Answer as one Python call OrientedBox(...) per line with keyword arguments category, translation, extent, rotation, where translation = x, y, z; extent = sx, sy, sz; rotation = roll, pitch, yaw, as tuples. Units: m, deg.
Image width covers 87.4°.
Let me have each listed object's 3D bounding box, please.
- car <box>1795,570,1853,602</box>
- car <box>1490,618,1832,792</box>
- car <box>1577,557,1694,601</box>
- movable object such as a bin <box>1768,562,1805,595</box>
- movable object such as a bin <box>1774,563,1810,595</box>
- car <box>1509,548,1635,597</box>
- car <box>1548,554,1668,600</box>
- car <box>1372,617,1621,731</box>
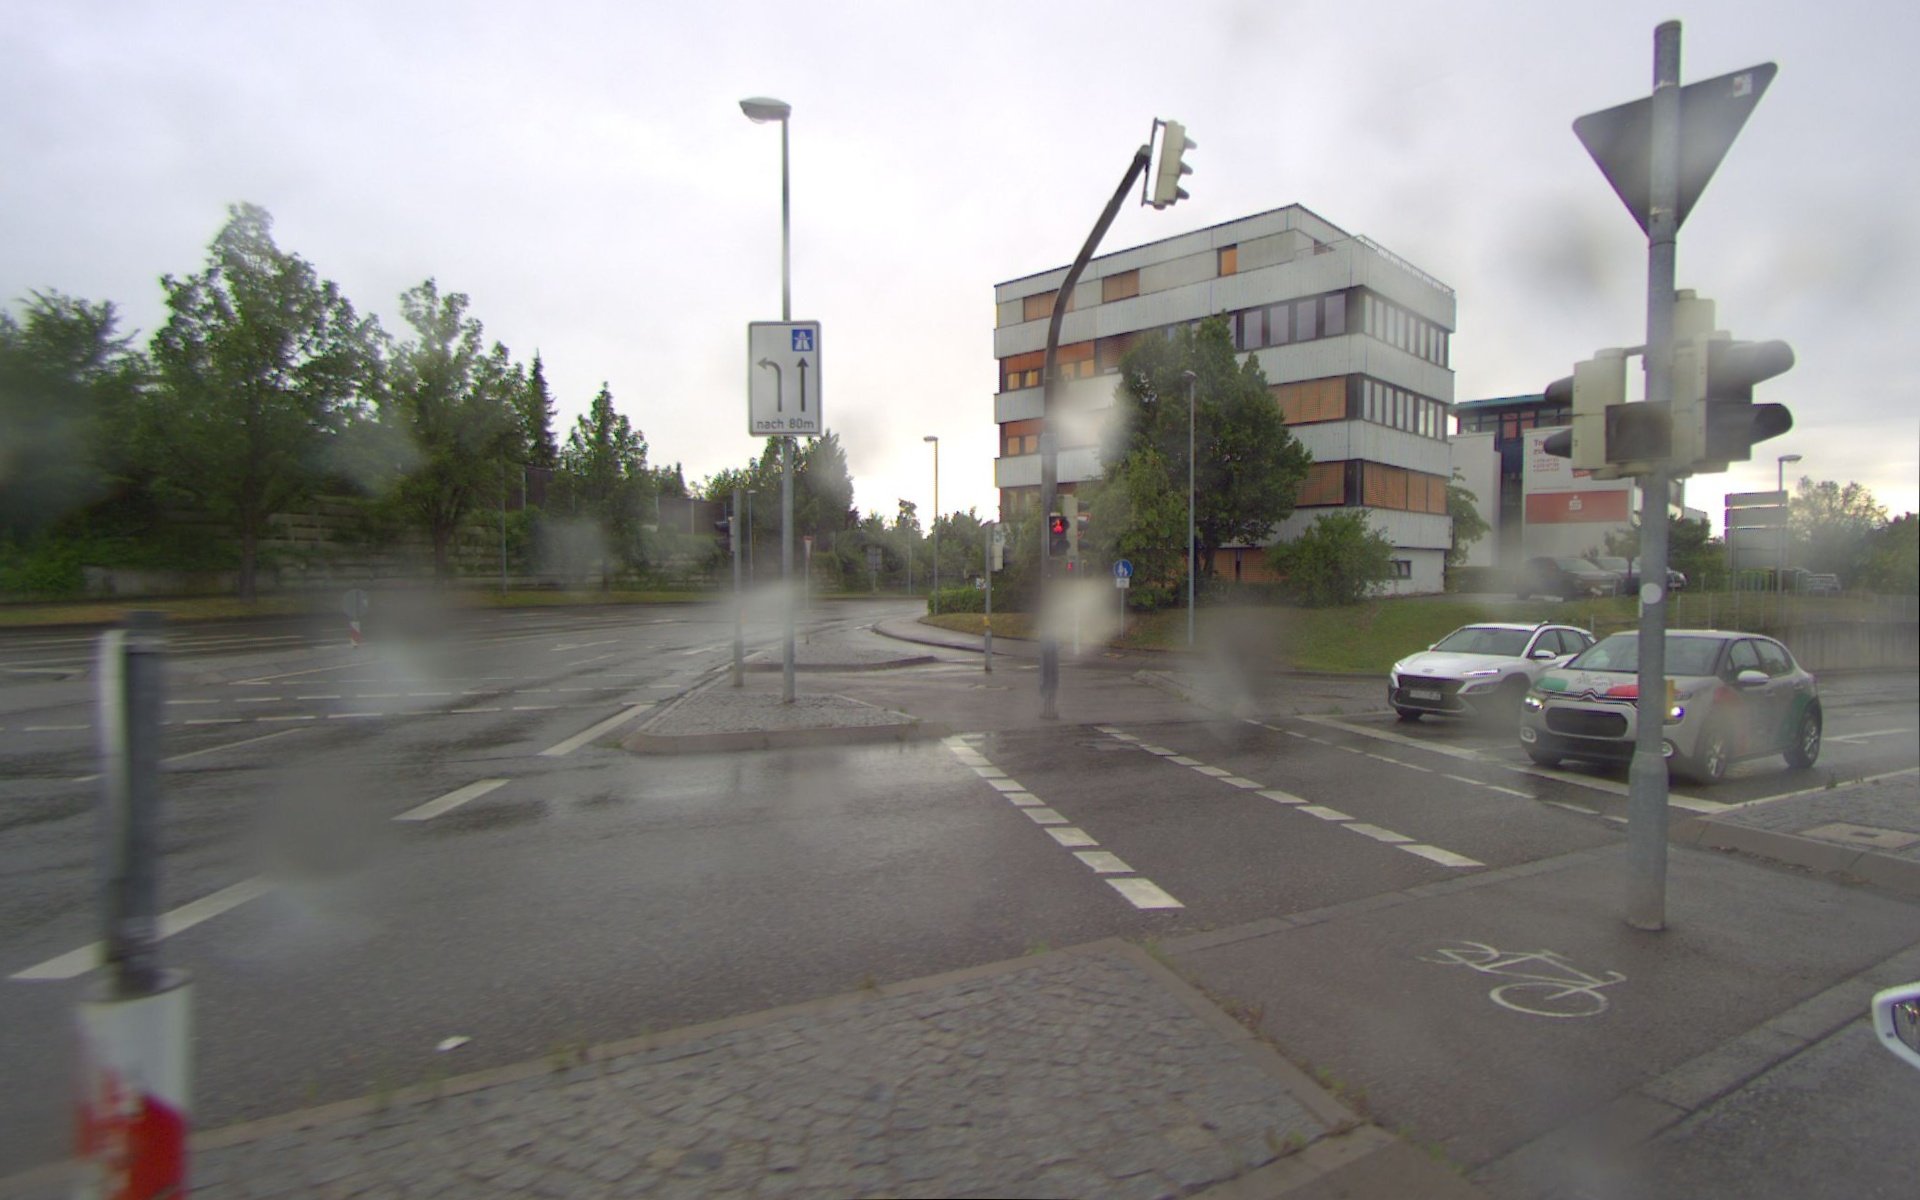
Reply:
OrientedBox(category="car", translation=(46.538, -0.749, 54.080), extent=(3.970, 1.461, 1.811), rotation=(2, 1, -42))
OrientedBox(category="car", translation=(7.621, 0.999, 10.825), extent=(3.957, 1.514, 1.651), rotation=(1, 0, -33))
OrientedBox(category="car", translation=(27.283, -0.838, 40.723), extent=(1.865, 1.607, 3.998), rotation=(3, 1, -2))
OrientedBox(category="movable object such as a bin", translation=(38.477, -1.005, 46.760), extent=(1.436, 1.456, 1.074), rotation=(2, 1, -42))
OrientedBox(category="movable object such as a bin", translation=(39.564, -1.003, 47.757), extent=(1.436, 1.456, 1.074), rotation=(2, 1, -42))
OrientedBox(category="car", translation=(22.480, -0.985, 37.065), extent=(1.867, 1.607, 3.996), rotation=(3, 1, -6))
OrientedBox(category="car", translation=(24.947, -0.872, 38.857), extent=(1.865, 1.607, 3.998), rotation=(3, 1, -2))
OrientedBox(category="car", translation=(8.371, 1.073, 15.588), extent=(3.957, 1.514, 1.710), rotation=(1, 0, -33))
